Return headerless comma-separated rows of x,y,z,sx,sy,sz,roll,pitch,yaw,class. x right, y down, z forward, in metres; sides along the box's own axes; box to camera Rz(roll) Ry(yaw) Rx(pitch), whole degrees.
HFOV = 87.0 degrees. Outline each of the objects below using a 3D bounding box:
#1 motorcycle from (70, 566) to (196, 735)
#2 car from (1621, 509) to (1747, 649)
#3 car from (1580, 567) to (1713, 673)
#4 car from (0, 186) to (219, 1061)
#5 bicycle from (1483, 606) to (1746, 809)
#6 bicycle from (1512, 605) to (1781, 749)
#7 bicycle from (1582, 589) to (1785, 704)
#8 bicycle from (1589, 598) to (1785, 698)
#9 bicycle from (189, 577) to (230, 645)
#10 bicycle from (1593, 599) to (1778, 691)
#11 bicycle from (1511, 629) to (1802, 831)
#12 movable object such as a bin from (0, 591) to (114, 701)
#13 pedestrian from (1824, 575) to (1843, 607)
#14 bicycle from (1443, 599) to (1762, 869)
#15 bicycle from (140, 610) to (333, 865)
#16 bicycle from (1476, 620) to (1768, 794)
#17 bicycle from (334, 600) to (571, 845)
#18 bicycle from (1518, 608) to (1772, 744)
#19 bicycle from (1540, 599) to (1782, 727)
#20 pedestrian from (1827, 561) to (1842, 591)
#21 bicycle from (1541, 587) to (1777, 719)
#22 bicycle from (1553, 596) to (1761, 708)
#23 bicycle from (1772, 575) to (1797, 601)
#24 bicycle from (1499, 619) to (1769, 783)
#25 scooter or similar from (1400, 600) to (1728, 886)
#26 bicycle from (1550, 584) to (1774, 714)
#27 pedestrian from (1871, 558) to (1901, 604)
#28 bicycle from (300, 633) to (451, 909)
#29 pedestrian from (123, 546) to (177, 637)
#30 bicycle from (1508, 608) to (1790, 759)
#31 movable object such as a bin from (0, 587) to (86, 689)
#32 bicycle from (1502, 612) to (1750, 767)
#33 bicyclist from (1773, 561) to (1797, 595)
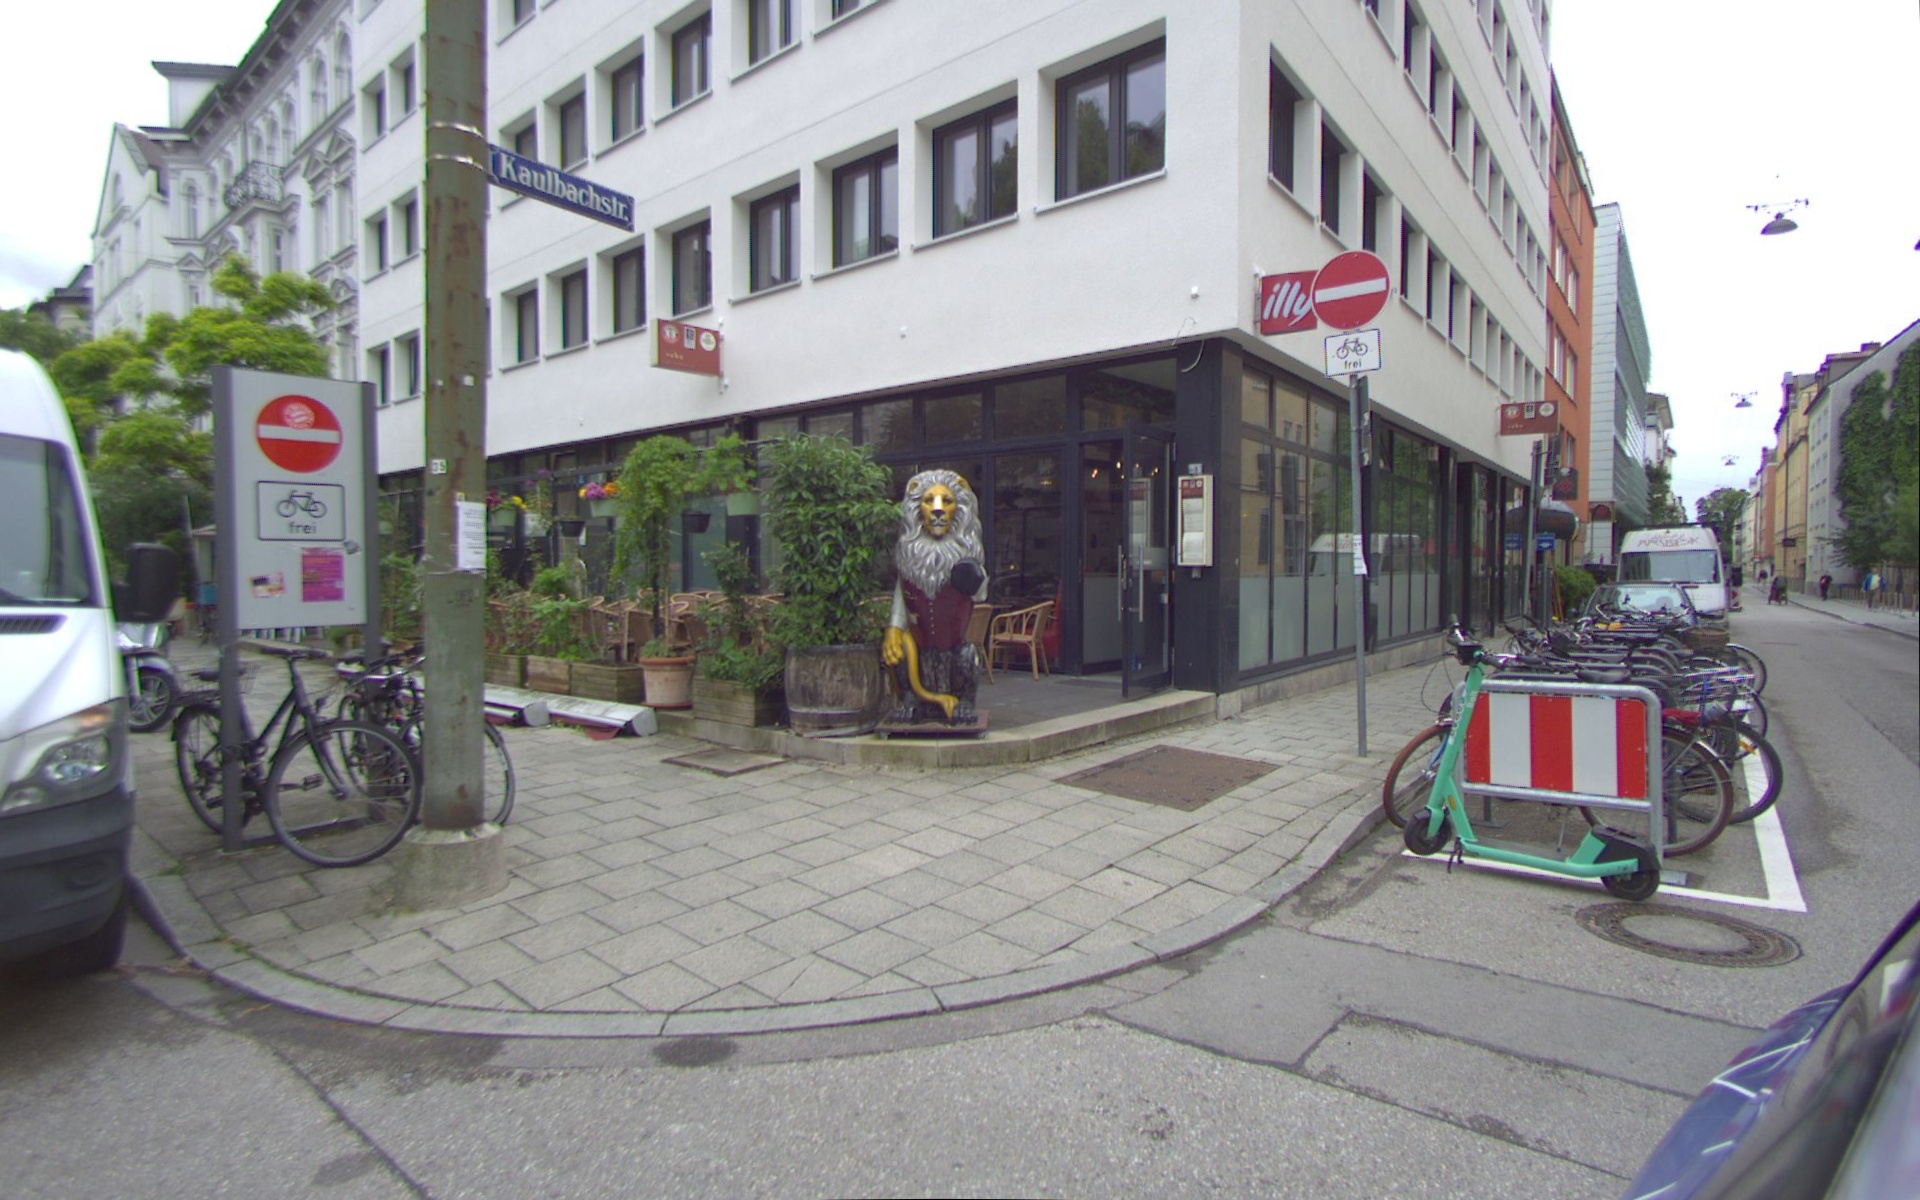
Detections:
-7.706,0.387,9.393,2.171,1.402,0.648,2,2,44,motorcycle
15.271,-0.451,21.367,1.915,2.537,5.920,0,1,36,car
10.932,0.224,16.053,1.576,1.482,3.506,1,2,36,car
-5.351,0.010,4.686,5.892,2.623,2.028,2,1,43,car
4.340,0.671,6.806,1.443,1.222,0.391,1,1,31,bicycle
5.839,0.614,8.716,1.867,1.093,0.397,1,1,35,bicycle
8.339,0.497,11.749,1.868,1.219,0.482,1,1,36,bicycle
8.668,0.539,12.144,1.868,1.122,0.482,0,0,36,bicycle
-13.279,0.169,17.891,0.464,1.141,1.413,-1,2,-41,bicycle
9.191,0.555,12.897,1.868,1.093,0.482,-1,-1,36,bicycle
4.260,0.754,6.303,1.443,1.083,0.458,1,1,31,bicycle
-10.150,0.476,11.218,1.092,1.124,0.995,1,2,39,movable object such as a bin
51.546,-0.530,59.721,0.774,1.859,0.978,1,2,37,pedestrian
3.518,0.660,5.619,1.454,1.301,0.439,1,1,39,bicycle
-3.678,0.618,5.104,1.499,1.085,0.365,1,2,38,bicycle
4.793,0.730,7.435,1.734,1.093,0.446,1,1,35,bicycle
-2.955,0.596,5.798,1.901,1.141,0.583,2,2,43,bicycle
6.220,0.651,9.293,1.867,1.064,0.557,2,3,35,bicycle
6.712,0.564,9.786,1.867,1.109,0.434,1,1,35,bicycle
49.377,-1.358,57.148,0.551,1.680,0.984,1,2,37,pedestrian
7.004,0.488,10.237,1.888,1.184,0.559,2,2,36,bicycle
7.761,0.548,11.350,1.868,1.172,0.558,0,0,36,bicycle
44.670,-0.663,54.854,0.930,1.272,2.382,3,4,37,bicycle
5.081,0.718,7.727,1.669,1.093,0.332,1,1,35,bicycle
2.968,0.631,5.051,1.351,1.225,0.412,1,2,40,scooter or similar
7.382,0.468,10.727,1.868,1.219,0.572,3,2,36,bicycle
38.420,-0.786,41.999,0.857,1.867,0.960,0,1,39,pedestrian
-2.886,0.768,4.962,1.178,1.141,0.334,2,2,45,bicycle
-15.864,-0.176,19.838,0.711,1.736,0.689,-1,1,-31,pedestrian
5.608,0.636,8.347,1.867,1.093,0.403,1,1,35,bicycle
-11.057,0.426,11.911,1.092,1.124,0.995,1,2,39,movable object such as a bin
5.255,0.665,8.073,1.607,1.093,0.373,1,1,35,bicycle
44.443,-1.191,54.526,0.924,1.742,1.085,3,3,37,bicyclist
